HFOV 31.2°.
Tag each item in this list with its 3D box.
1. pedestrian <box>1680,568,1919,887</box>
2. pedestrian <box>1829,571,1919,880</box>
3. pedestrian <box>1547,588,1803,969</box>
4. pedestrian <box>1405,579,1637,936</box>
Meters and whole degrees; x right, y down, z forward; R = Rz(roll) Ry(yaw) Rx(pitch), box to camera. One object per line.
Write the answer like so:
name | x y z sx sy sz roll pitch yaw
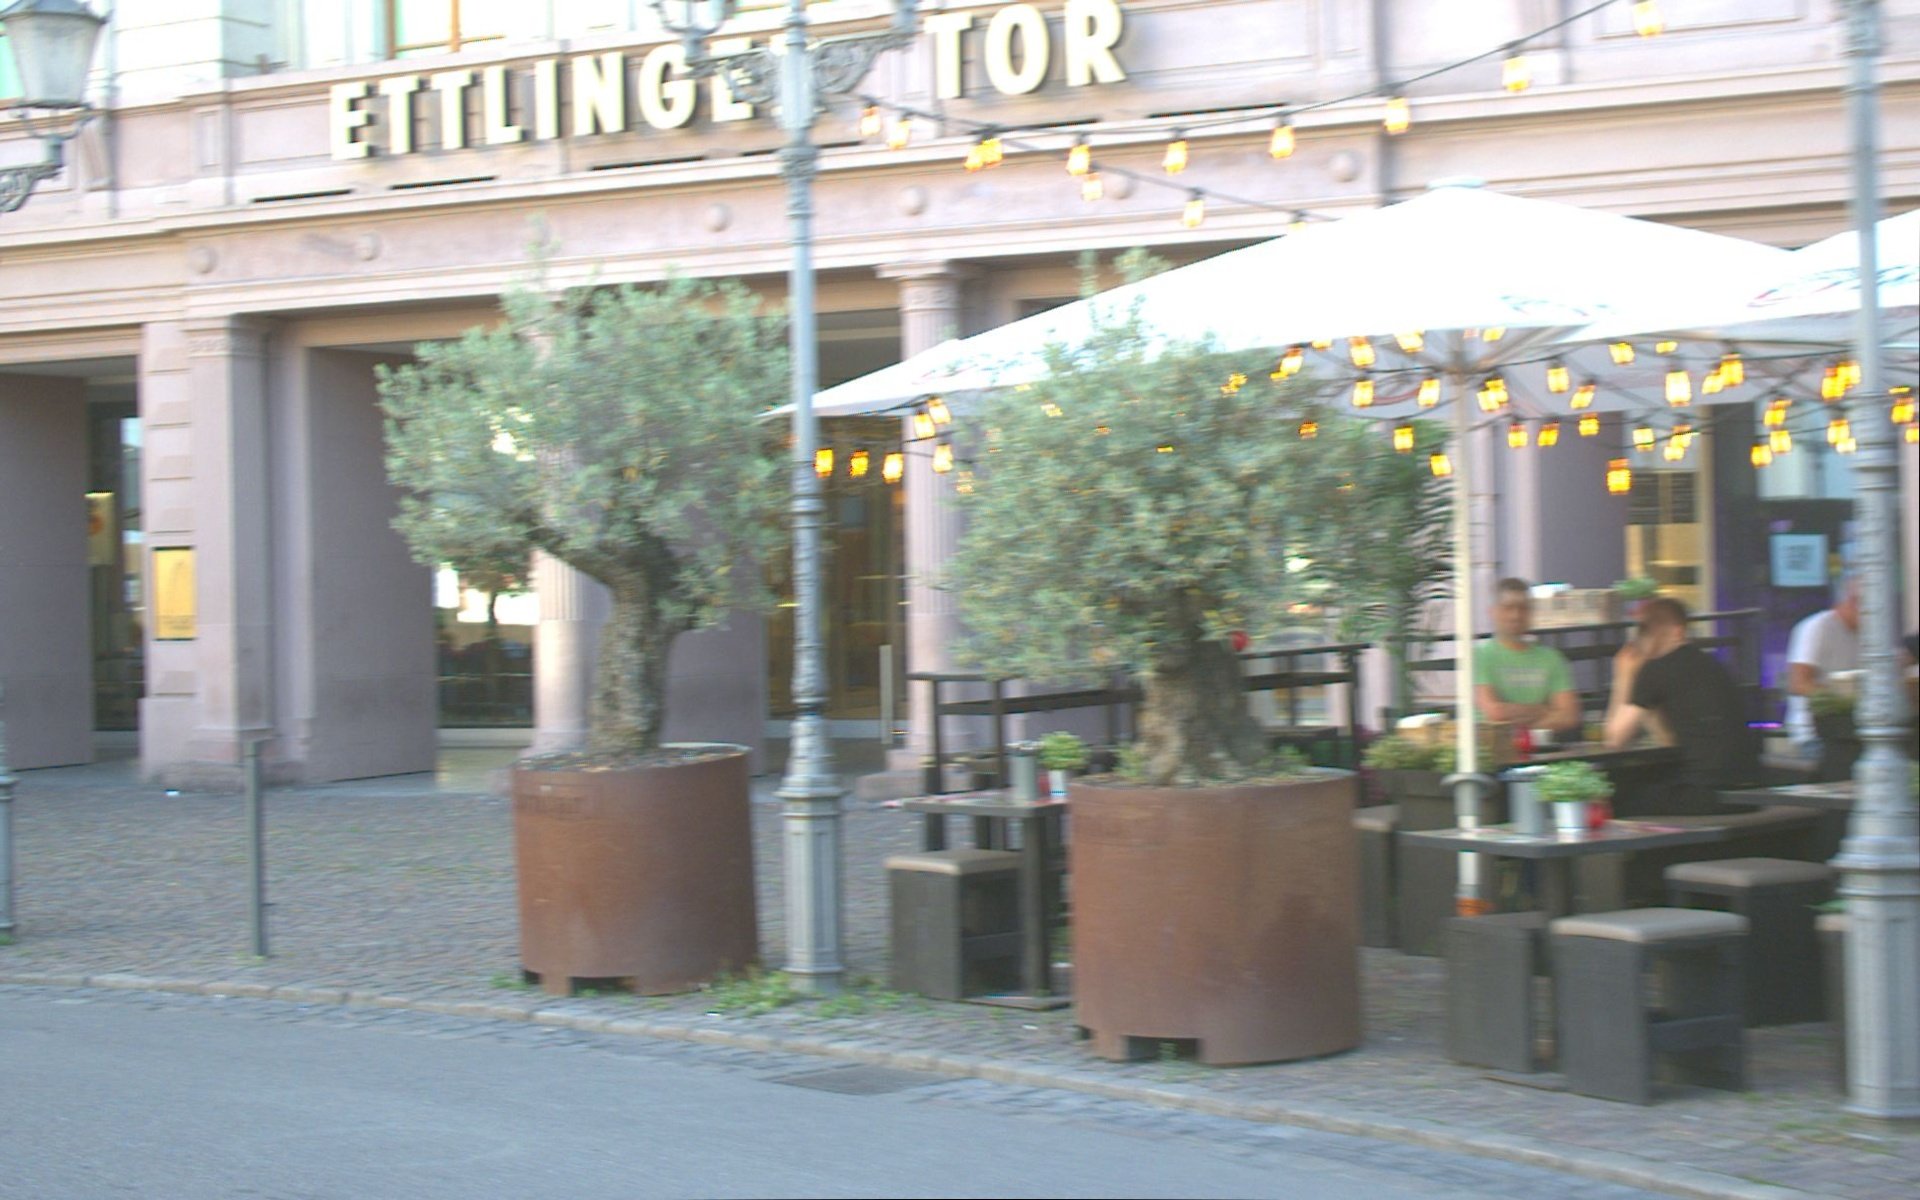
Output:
pedestrian | 3.958 0.578 16.176 0.772 1.442 0.853 -1 0 -18
pedestrian | 4.754 0.583 16.530 0.772 1.442 0.853 -1 0 -16
pedestrian | 2.817 0.679 13.609 0.721 1.442 0.866 -1 0 -8
pedestrian | 2.350 0.639 14.483 0.721 1.442 0.866 -1 0 -8
